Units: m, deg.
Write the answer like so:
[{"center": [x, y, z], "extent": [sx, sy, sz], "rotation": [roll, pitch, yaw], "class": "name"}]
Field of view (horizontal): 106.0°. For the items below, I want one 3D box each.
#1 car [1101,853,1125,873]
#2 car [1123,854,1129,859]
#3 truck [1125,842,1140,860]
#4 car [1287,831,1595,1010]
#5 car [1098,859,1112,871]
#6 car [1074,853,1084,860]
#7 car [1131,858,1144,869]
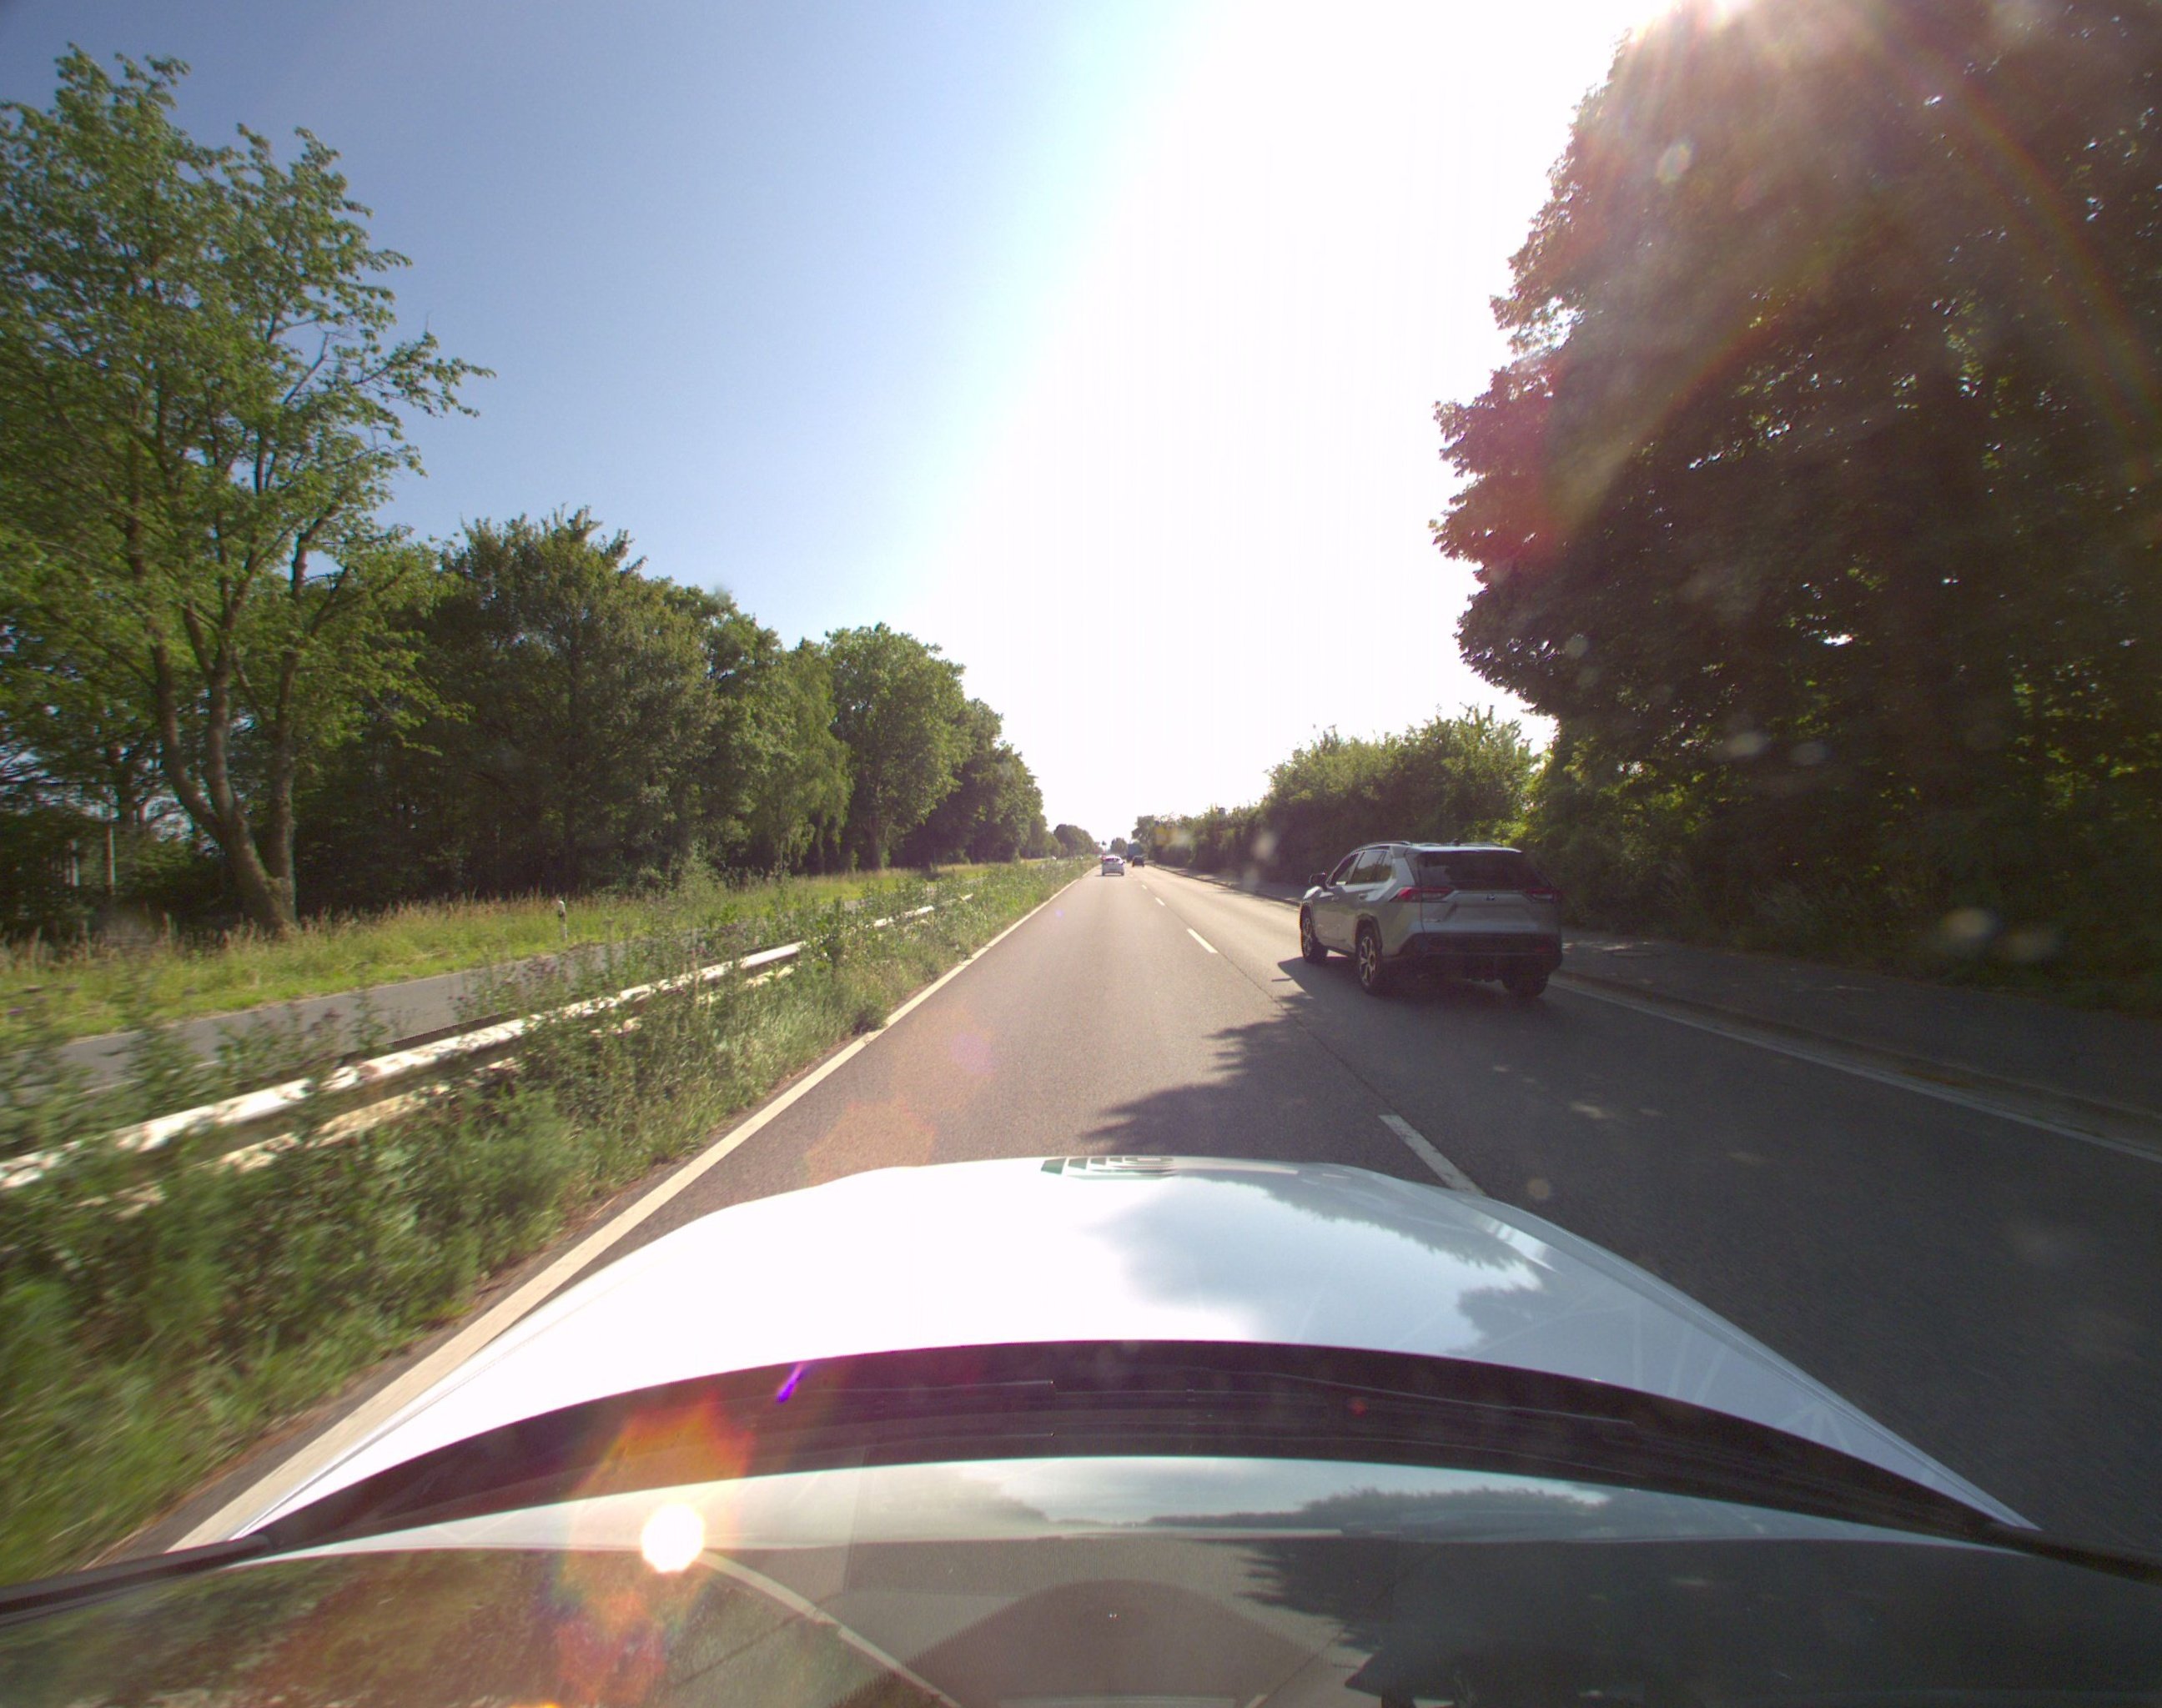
[{"center": [2.485, 0.673, 63.318], "extent": [1.791, 1.552, 4.003], "rotation": [0, 0, 3], "class": "car"}, {"center": [13.875, 0.780, 252.798], "extent": [1.804, 1.464, 4.465], "rotation": [-2, -1, 5], "class": "car"}, {"center": [10.323, -0.646, 164.218], "extent": [2.880, 3.428, 9.174], "rotation": [-1, 0, 2], "class": "truck"}, {"center": [4.030, 0.636, 10.119], "extent": [1.894, 1.680, 4.686], "rotation": [1, 0, 2], "class": "car"}, {"center": [2.816, 1.265, 95.188], "extent": [1.566, 1.414, 3.279], "rotation": [-1, -1, 2], "class": "car"}, {"center": [-0.456, 0.533, 190.325], "extent": [1.770, 1.530, 4.167], "rotation": [-2, 0, 5], "class": "car"}, {"center": [7.381, 1.244, 106.506], "extent": [1.566, 1.414, 3.279], "rotation": [0, -1, 2], "class": "car"}]
